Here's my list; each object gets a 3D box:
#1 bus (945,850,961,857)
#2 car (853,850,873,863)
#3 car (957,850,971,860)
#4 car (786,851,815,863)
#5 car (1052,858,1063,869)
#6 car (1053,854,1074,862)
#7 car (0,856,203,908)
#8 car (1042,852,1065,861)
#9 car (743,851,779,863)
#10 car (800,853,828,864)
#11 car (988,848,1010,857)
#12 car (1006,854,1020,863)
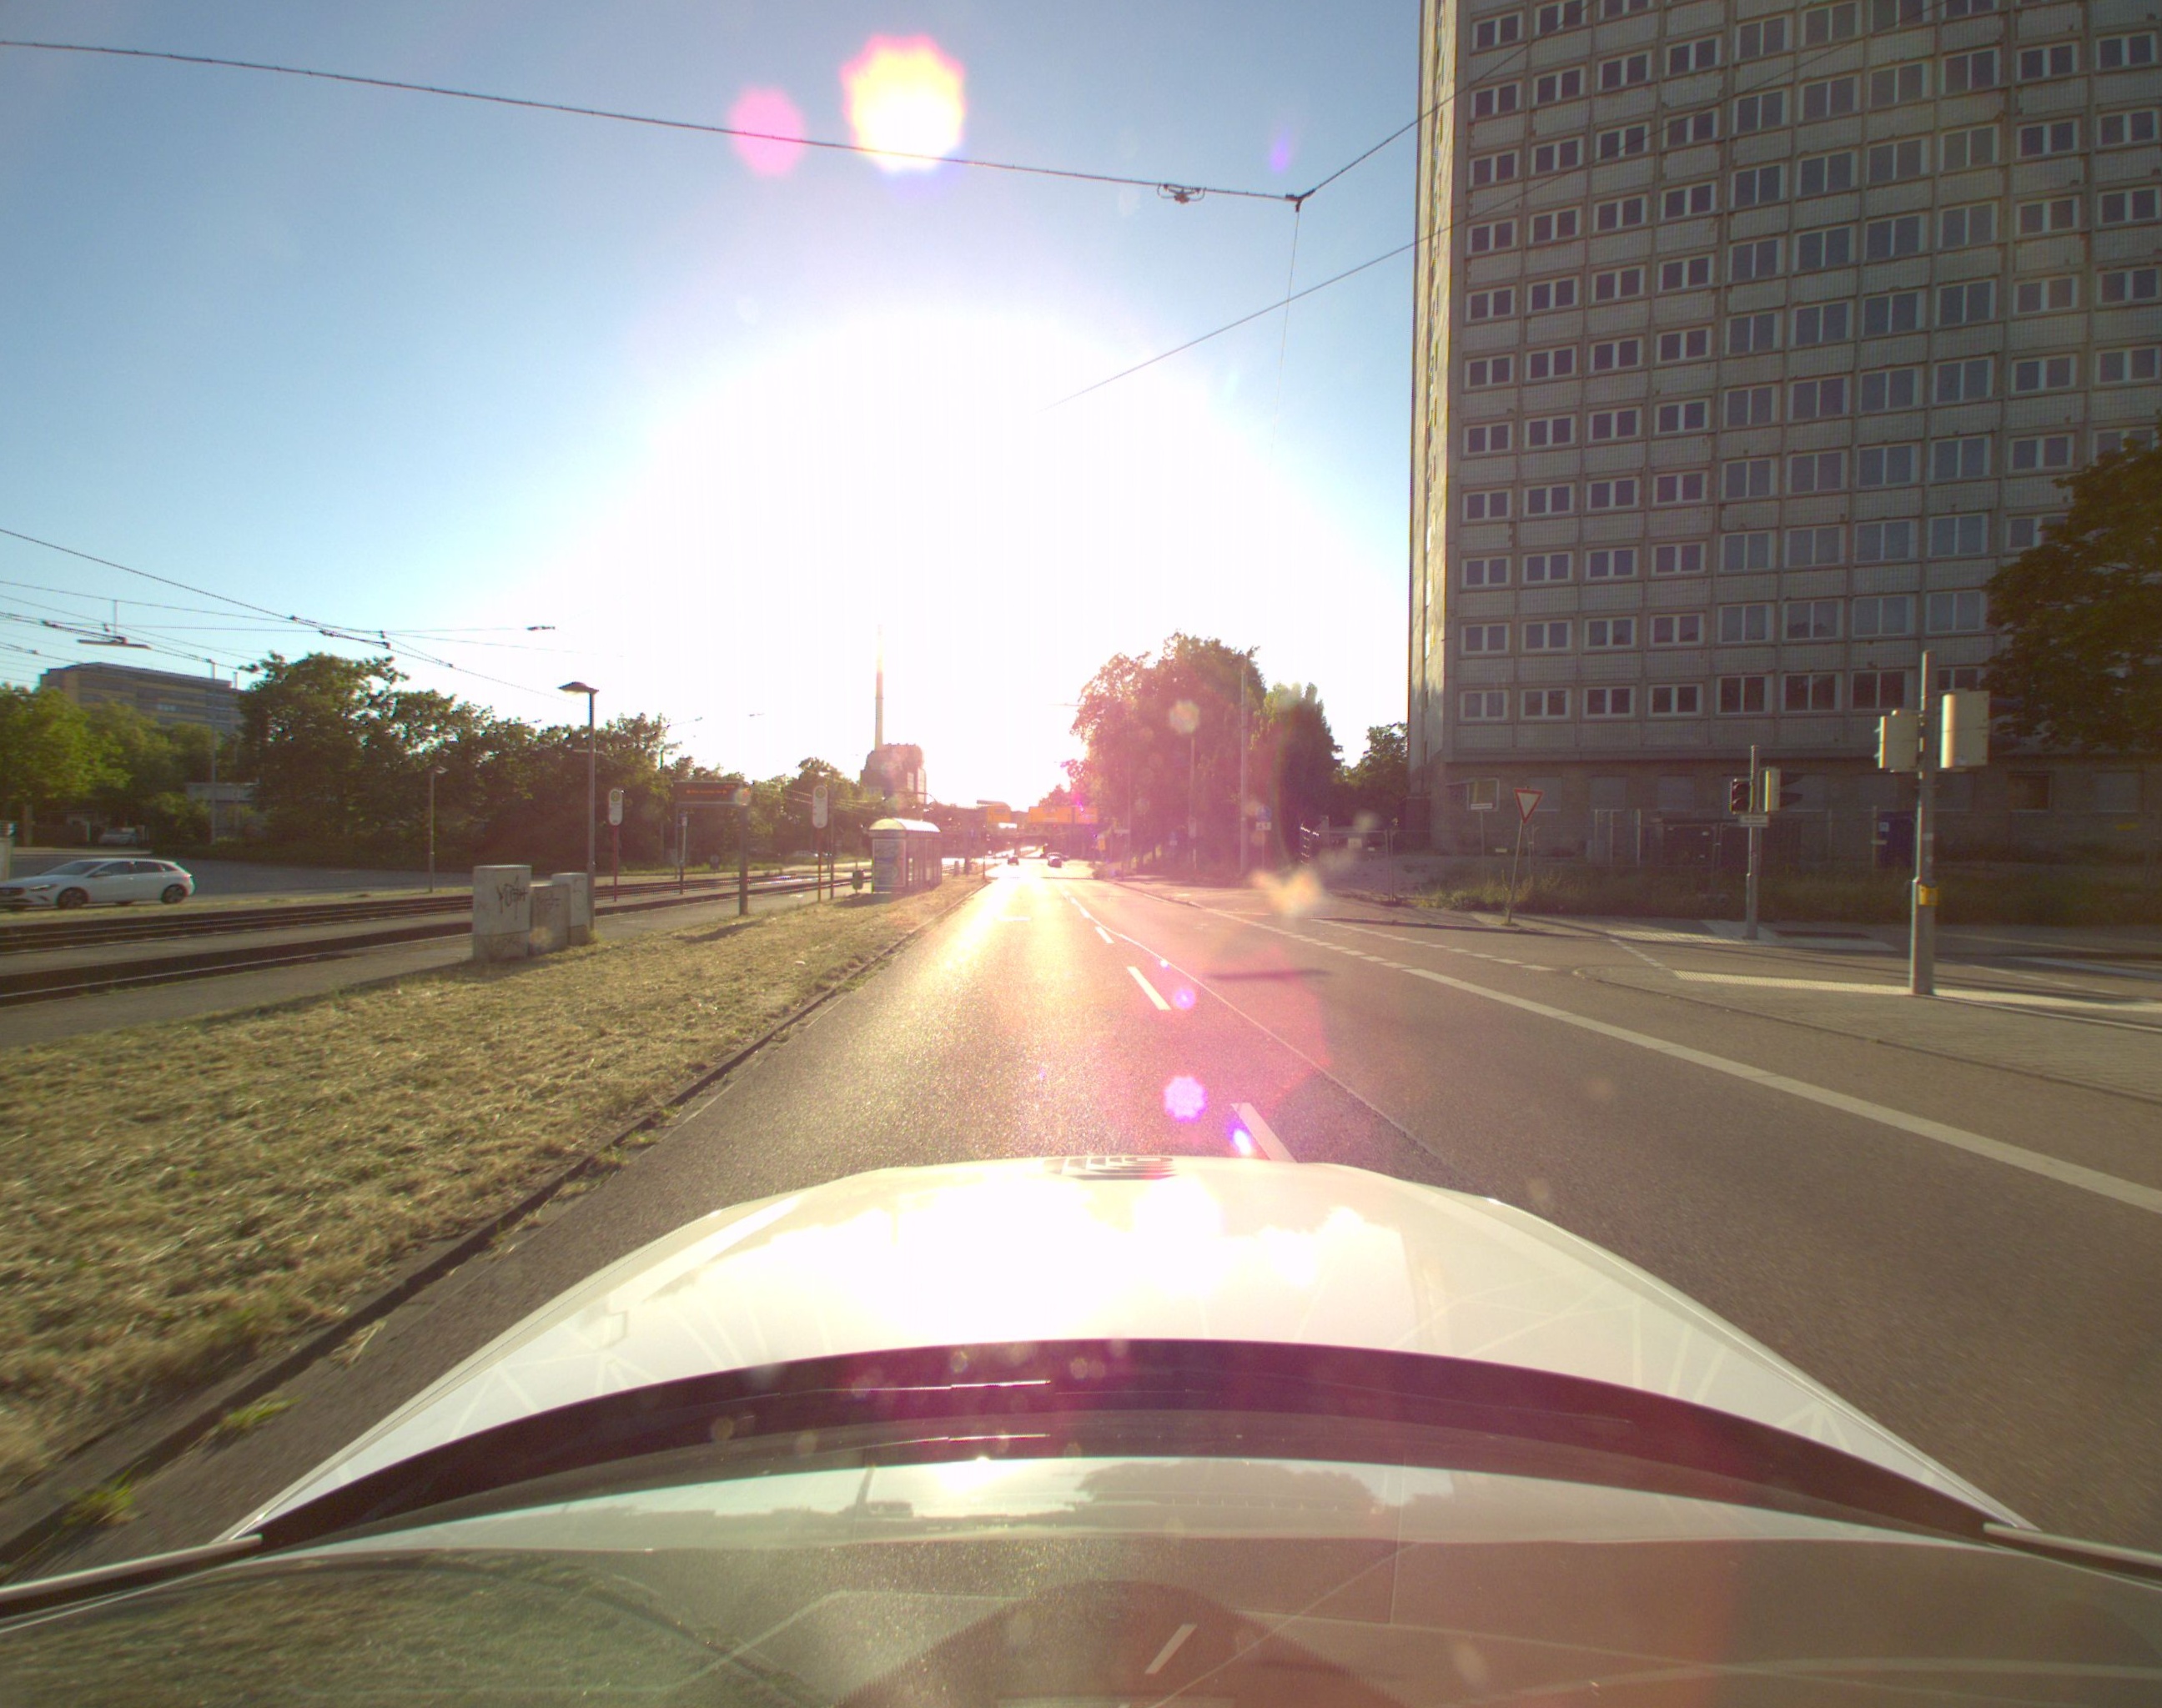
[{"bbox_3d":[-34.831,-0.113,222.322,2.575,2.014,12.293,0,0,0],"label":"bus"},{"bbox_3d":[-34.016,0.418,127.045,1.987,2.014,3.999,0,0,0],"label":"car"},{"bbox_3d":[-25.792,0.200,179.695,1.984,2.013,4.869,0,0,4],"label":"car"},{"bbox_3d":[-44.228,0.455,128.410,4.009,1.750,1.982,0,0,-28],"label":"car"},{"bbox_3d":[-3.382,1.405,119.942,1.510,1.387,3.363,1,1,0],"label":"car"},{"bbox_3d":[-3.303,0.779,156.024,3.978,1.446,1.772,0,0,-3],"label":"car"},{"bbox_3d":[-31.319,0.827,26.061,1.651,1.532,4.390,0,0,0],"label":"car"},{"bbox_3d":[-6.152,0.539,181.911,4.809,2.013,2.009,1,1,16],"label":"car"},{"bbox_3d":[-48.614,0.423,123.757,4.802,1.843,1.982,0,0,-28],"label":"car"},{"bbox_3d":[-43.424,0.676,132.487,4.009,1.750,1.982,0,0,-28],"label":"car"},{"bbox_3d":[-19.230,-0.336,191.825,4.746,2.013,2.010,1,1,18],"label":"car"},{"bbox_3d":[-10.764,0.680,128.815,2.032,1.446,3.998,0,0,-1],"label":"car"}]
